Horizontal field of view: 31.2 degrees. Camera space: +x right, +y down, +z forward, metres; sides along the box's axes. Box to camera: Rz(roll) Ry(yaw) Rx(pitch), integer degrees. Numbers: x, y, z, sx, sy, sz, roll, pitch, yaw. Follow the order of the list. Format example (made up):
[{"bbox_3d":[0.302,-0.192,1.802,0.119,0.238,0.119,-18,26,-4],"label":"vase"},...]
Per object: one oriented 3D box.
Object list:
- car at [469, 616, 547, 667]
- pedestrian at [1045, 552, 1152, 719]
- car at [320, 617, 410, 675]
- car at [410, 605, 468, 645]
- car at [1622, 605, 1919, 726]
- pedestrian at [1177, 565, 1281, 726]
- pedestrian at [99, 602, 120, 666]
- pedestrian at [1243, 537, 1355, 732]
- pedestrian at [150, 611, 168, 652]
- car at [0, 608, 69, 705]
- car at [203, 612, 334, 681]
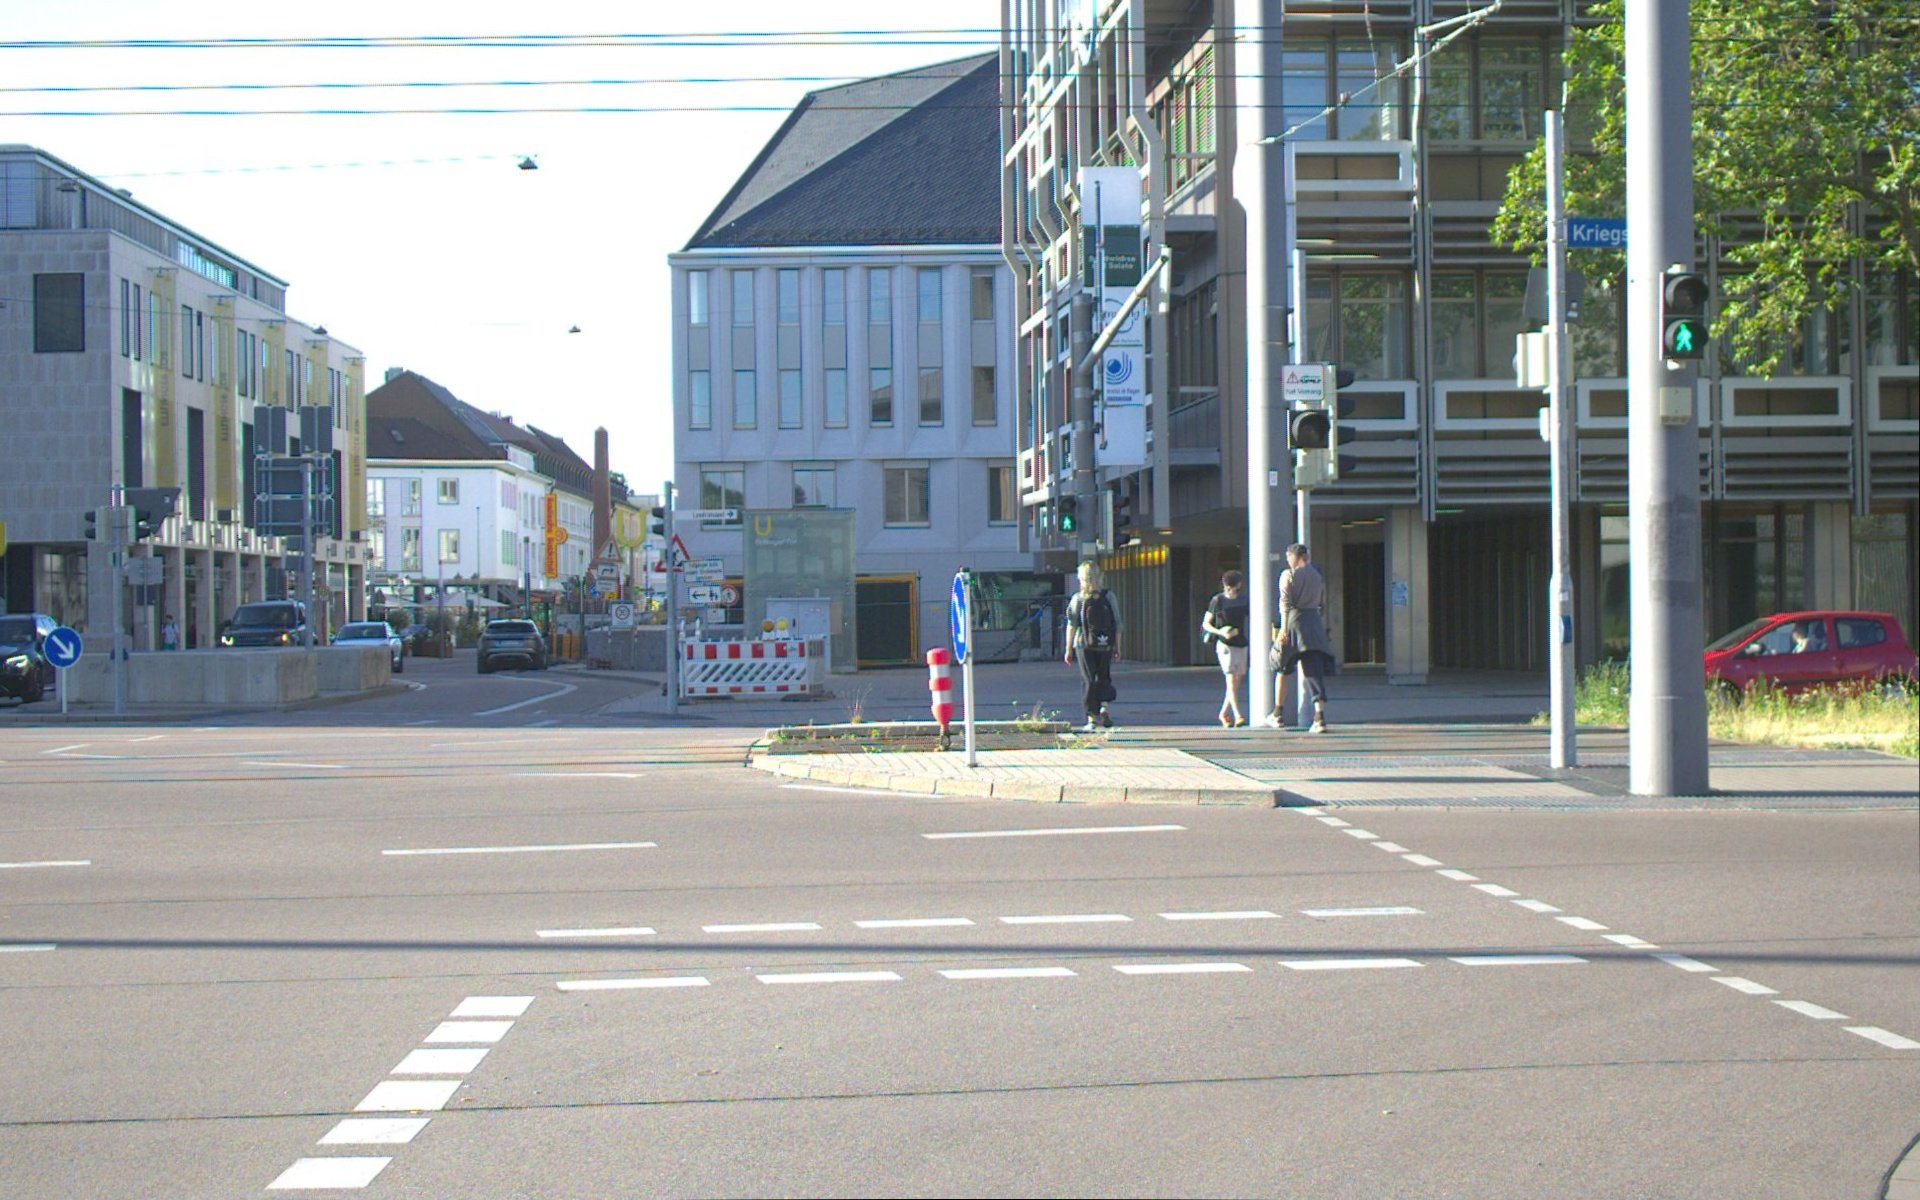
[{"bbox_3d":[-13.232,1.215,100.823,1.936,1.445,4.262,0,-1,-3],"label":"car"},{"bbox_3d":[1.307,0.325,32.540,0.895,1.544,0.924,0,1,-5],"label":"pedestrian"},{"bbox_3d":[-17.927,1.380,103.732,2.173,1.686,5.616,0,-1,-5],"label":"car"},{"bbox_3d":[-24.865,1.222,164.287,2.174,1.866,5.615,0,-1,-3],"label":"car"},{"bbox_3d":[10.944,0.883,45.694,3.867,1.481,1.846,-1,-3,-2],"label":"car"},{"bbox_3d":[3.247,0.540,41.565,1.011,1.904,1.051,0,0,-11],"label":"pedestrian"},{"bbox_3d":[-27.064,1.075,109.402,0.616,2.007,0.478,1,-1,-13],"label":"pedestrian"},{"bbox_3d":[3.064,0.305,31.096,0.855,1.738,0.739,0,1,-7],"label":"pedestrian"},{"bbox_3d":[-26.262,1.028,112.741,0.488,1.352,0.564,1,0,-5],"label":"pedestrian"},{"bbox_3d":[-17.278,0.992,61.210,1.937,1.672,4.294,0,0,-4],"label":"car"},{"bbox_3d":[-17.535,1.181,87.464,2.174,1.686,5.486,0,-1,1],"label":"car"}]
